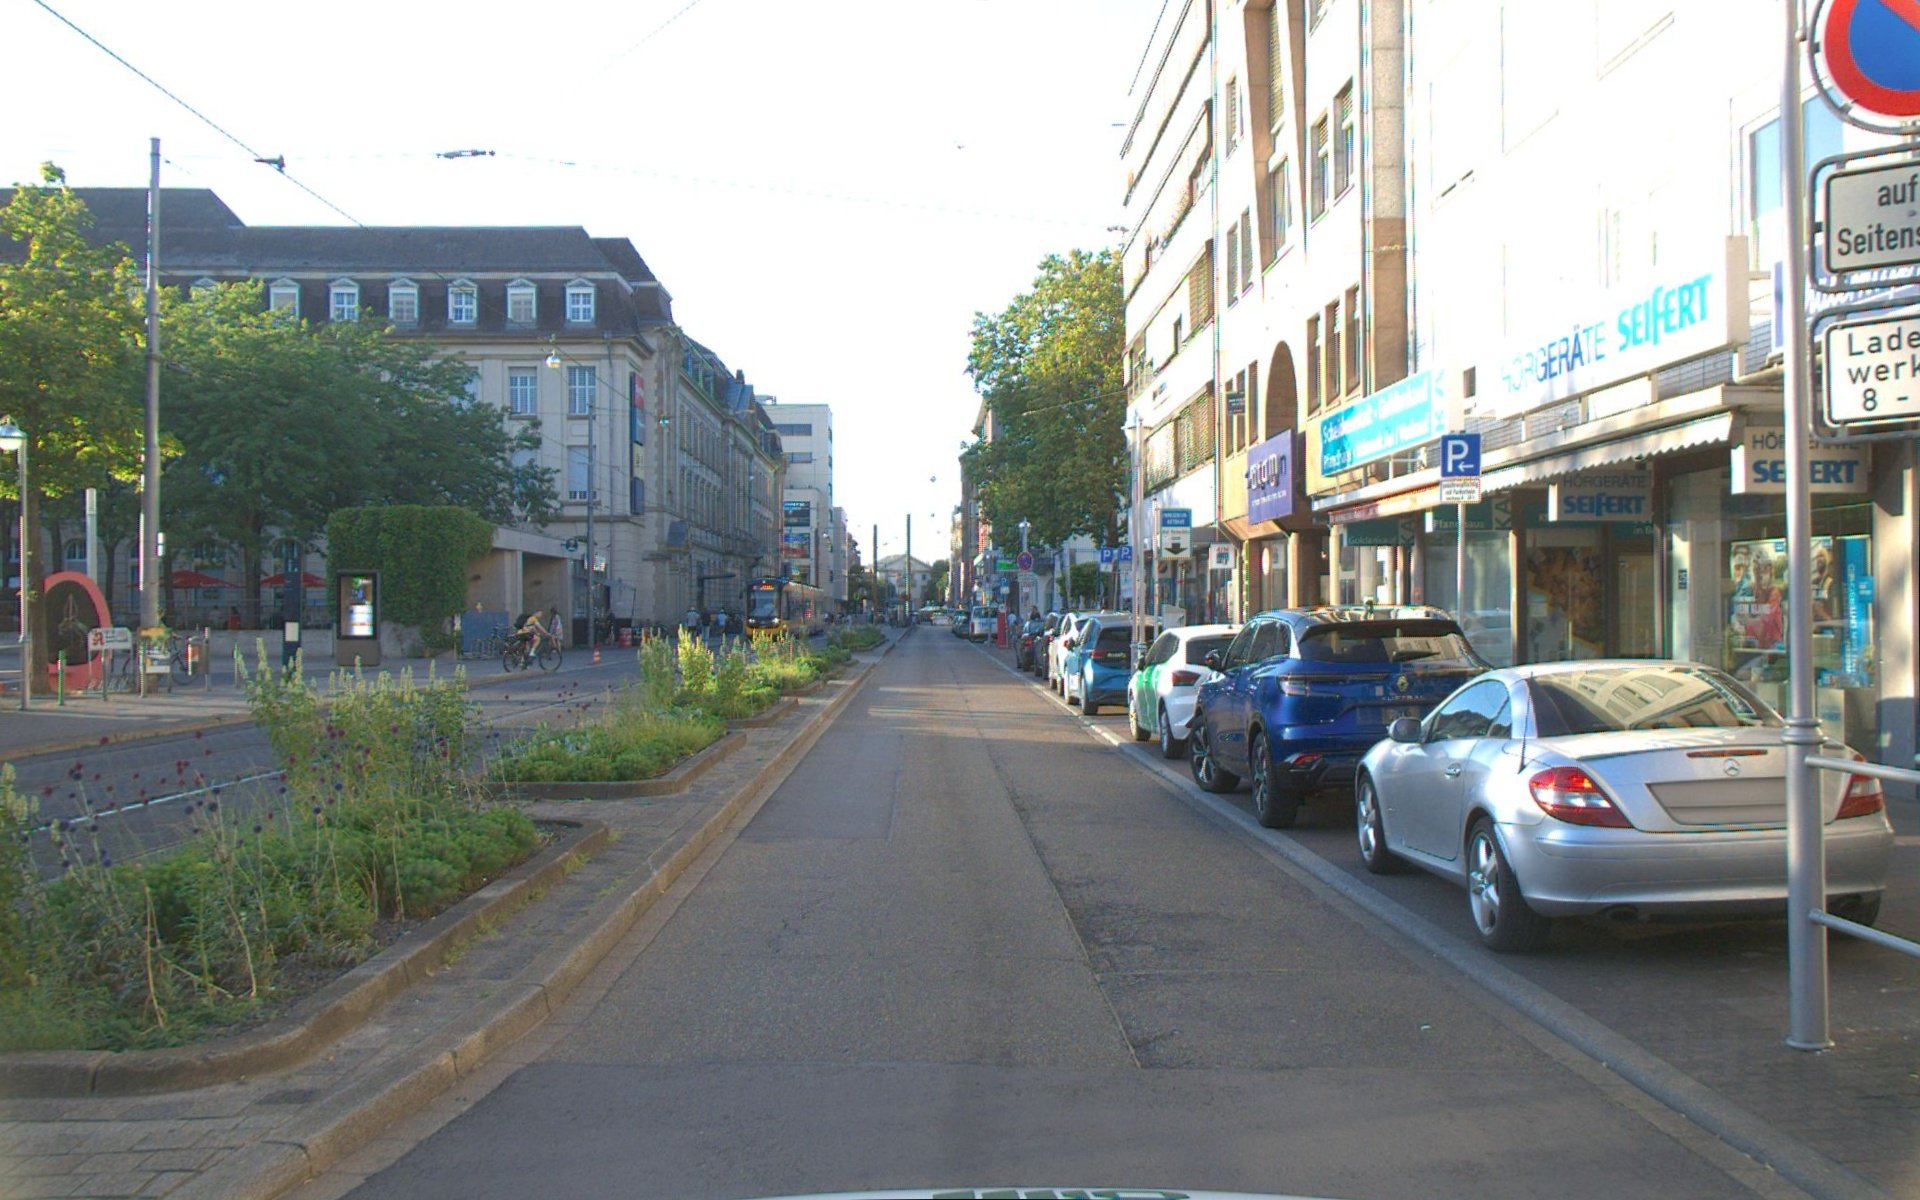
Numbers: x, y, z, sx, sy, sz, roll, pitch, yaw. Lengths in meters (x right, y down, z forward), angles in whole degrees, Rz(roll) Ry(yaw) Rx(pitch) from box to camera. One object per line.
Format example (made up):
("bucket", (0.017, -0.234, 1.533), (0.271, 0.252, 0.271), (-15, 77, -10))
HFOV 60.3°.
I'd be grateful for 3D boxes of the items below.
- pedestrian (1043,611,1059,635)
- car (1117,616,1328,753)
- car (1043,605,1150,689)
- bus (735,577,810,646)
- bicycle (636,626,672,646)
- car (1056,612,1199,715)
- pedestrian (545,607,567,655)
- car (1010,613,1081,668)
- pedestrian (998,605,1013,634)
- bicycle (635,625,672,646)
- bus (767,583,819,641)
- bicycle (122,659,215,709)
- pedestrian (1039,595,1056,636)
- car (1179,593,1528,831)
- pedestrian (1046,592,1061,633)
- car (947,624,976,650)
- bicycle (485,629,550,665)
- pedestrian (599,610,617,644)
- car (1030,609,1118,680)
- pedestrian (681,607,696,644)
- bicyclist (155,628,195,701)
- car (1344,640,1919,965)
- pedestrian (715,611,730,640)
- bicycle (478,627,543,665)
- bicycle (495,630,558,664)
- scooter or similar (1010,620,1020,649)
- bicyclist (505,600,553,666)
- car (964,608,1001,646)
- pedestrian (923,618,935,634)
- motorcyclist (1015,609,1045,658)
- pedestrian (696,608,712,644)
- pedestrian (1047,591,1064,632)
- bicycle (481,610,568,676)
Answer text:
("pedestrian", (5.295, 1.341, 96.266), (0.806, 1.329, 0.869), (-1, -3, -2))
("car", (3.057, 0.983, 20.049), (1.696, 1.460, 4.149), (-1, -2, -3))
("car", (2.734, 0.922, 34.009), (1.779, 1.613, 4.722), (0, -1, 0))
("bus", (-10.959, 0.706, 98.500), (2.765, 3.715, 17.067), (-1, -1, -1))
("bicycle", (-18.066, 2.117, 97.730), (2.037, 1.168, 0.574), (0, -3, -6))
("car", (2.750, 1.015, 28.190), (1.773, 1.579, 4.834), (0, -1, -2))
("pedestrian", (-16.693, 1.297, 68.312), (0.709, 1.968, 0.792), (-1, -3, 2))
("car", (2.407, 1.130, 47.666), (1.622, 1.404, 4.339), (-4, -1, -2))
("pedestrian", (2.756, 1.197, 100.975), (0.772, 1.782, 0.893), (0, -3, -8))
("bicycle", (-17.988, 2.091, 97.066), (2.056, 1.168, 0.574), (0, -3, -6))
("bus", (-11.171, 0.782, 111.179), (2.765, 3.688, 8.287), (-1, 0, -1))
("bicycle", (-18.542, 1.966, 38.757), (1.920, 1.131, 0.453), (1, -3, -42))
("pedestrian", (3.995, 0.707, 75.401), (0.699, 1.835, 0.824), (-1, -1, 1))
("car", (3.025, 0.797, 13.649), (1.729, 1.633, 4.285), (0, -1, -2))
("pedestrian", (4.069, 0.533, 71.727), (0.601, 1.747, 0.662), (-1, -3, 1))
("car", (0.071, 2.603, 117.301), (1.953, 1.792, 4.419), (-1, -1, -1))
("bicycle", (-16.066, 1.721, 60.127), (2.196, 1.277, 0.579), (-1, -3, -2))
("pedestrian", (-17.220, 1.322, 80.929), (0.704, 1.674, 0.655), (1, -1, -23))
("car", (2.772, 1.052, 41.100), (1.740, 1.565, 4.577), (-1, 1, -2))
("pedestrian", (-14.149, 1.346, 86.341), (0.679, 1.880, 0.661), (-1, -3, -1))
("bicyclist", (-18.442, 1.510, 38.843), (0.699, 1.698, 0.618), (2, -3, -42))
("car", (3.313, 0.883, 8.858), (1.639, 1.305, 4.063), (-1, -1, 1))
("pedestrian", (-14.460, 1.527, 100.705), (0.798, 1.737, 0.761), (-1, -3, -1))
("bicycle", (-15.910, 1.638, 58.606), (2.152, 1.323, 0.579), (-1, -3, -2))
("bicycle", (-16.199, 1.754, 61.796), (2.196, 1.253, 0.585), (-1, -2, -2))
("scooter or similar", (2.395, 1.478, 71.978), (0.308, 1.243, 1.273), (-1, -1, 6))
("bicyclist", (-11.871, 0.899, 45.506), (0.954, 1.807, 0.925), (-1, -1, 45))
("car", (1.244, 1.517, 92.471), (1.876, 2.016, 4.419), (-1, -1, -1))
("pedestrian", (-3.900, 3.239, 207.584), (1.210, 1.962, 1.017), (0, -1, -17))
("motorcyclist", (2.643, 1.271, 62.486), (0.980, 1.845, 0.960), (-1, -3, 13))
("pedestrian", (-13.358, 1.346, 86.399), (0.718, 1.873, 0.714), (-1, -2, -1))
("pedestrian", (4.092, 0.490, 71.057), (0.664, 1.747, 0.654), (-1, -3, 1))
("bicycle", (-11.949, 1.160, 45.484), (0.593, 1.770, 2.351), (-1, -1, 44))
